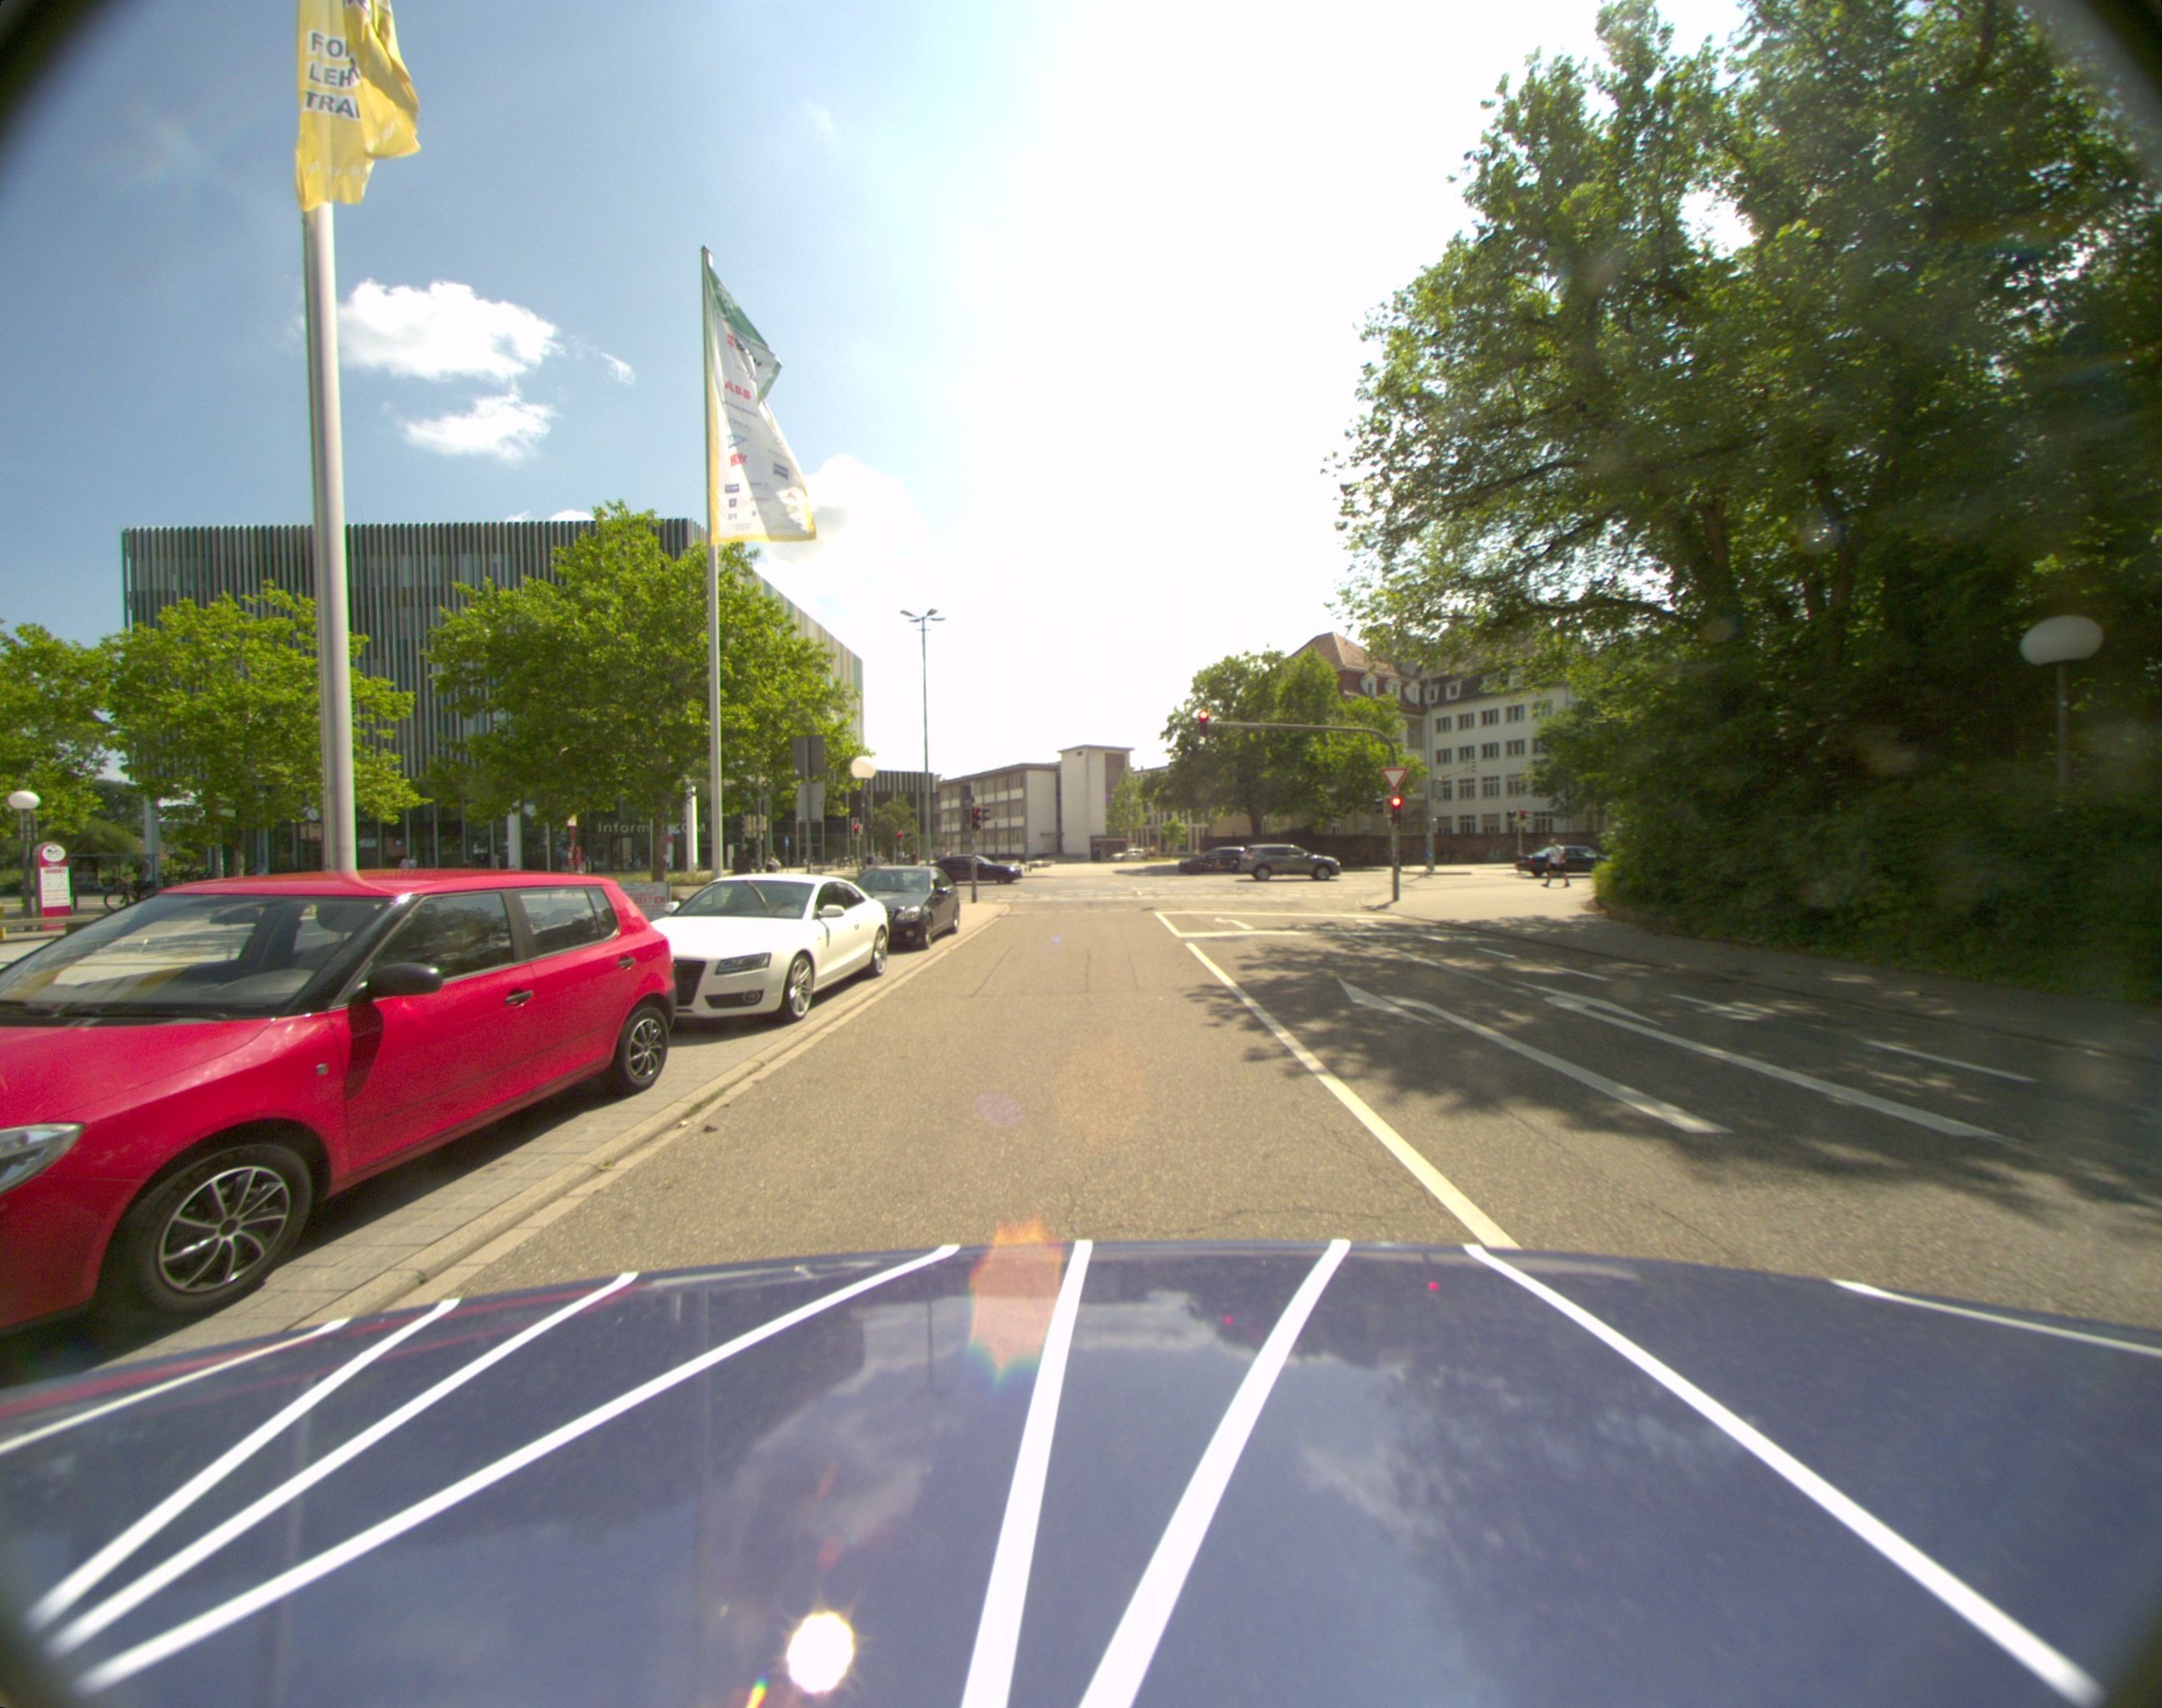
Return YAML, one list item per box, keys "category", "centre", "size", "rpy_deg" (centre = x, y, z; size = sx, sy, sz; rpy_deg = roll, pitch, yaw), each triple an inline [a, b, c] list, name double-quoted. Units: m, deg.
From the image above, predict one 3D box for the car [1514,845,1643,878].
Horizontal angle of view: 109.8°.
- category: "car"
  centre: [22.450, 0.335, 34.420]
  size: [4.607, 1.379, 1.698]
  rpy_deg: [-1, 2, 9]

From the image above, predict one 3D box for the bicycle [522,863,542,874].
- category: "bicycle"
  centre: [-44.303, 1.177, 61.359]
  size: [0.373, 0.771, 1.546]
  rpy_deg: [-1, 2, 5]

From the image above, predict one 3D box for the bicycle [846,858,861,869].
- category: "bicycle"
  centre: [-20.151, 0.837, 67.346]
  size: [0.530, 0.950, 1.768]
  rpy_deg: [-2, 2, -45]

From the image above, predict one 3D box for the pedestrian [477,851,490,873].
- category: "pedestrian"
  centre: [-49.591, 0.655, 63.058]
  size: [0.554, 1.832, 0.561]
  rpy_deg: [-1, 2, -6]

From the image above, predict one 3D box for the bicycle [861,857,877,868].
- category: "bicycle"
  centre: [-19.107, 0.743, 68.409]
  size: [0.530, 0.950, 1.768]
  rpy_deg: [-2, 2, -45]

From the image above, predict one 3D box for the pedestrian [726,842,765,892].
- category: "pedestrian"
  centre: [-12.697, 0.510, 28.783]
  size: [0.856, 1.808, 1.177]
  rpy_deg: [1, -3, 3]

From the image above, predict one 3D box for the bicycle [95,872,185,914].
- category: "bicycle"
  centre: [-27.847, 1.138, 22.499]
  size: [2.028, 1.176, 0.800]
  rpy_deg: [0, 2, 12]

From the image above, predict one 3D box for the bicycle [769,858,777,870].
- category: "bicycle"
  centre: [-25.810, 0.835, 63.659]
  size: [0.529, 0.950, 1.770]
  rpy_deg: [-1, 1, -19]

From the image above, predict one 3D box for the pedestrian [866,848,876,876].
- category: "pedestrian"
  centre: [-13.797, 0.536, 49.924]
  size: [0.633, 1.832, 0.479]
  rpy_deg: [-1, 2, -13]

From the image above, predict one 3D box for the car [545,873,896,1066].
- category: "car"
  centre: [-3.518, 1.006, 8.488]
  size: [1.722, 1.392, 4.438]
  rpy_deg: [2, 1, 1]

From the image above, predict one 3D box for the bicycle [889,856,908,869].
- category: "bicycle"
  centre: [-14.701, 0.677, 61.114]
  size: [1.768, 0.950, 0.530]
  rpy_deg: [1, 2, 39]

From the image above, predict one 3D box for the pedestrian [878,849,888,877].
- category: "pedestrian"
  centre: [-13.096, 0.621, 50.209]
  size: [0.576, 1.832, 0.415]
  rpy_deg: [-1, 2, -15]

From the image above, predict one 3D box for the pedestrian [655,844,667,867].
- category: "pedestrian"
  centre: [-34.185, 0.101, 61.850]
  size: [0.790, 1.831, 0.516]
  rpy_deg: [-2, 1, -34]

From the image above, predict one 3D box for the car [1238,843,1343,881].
- category: "car"
  centre: [9.739, 0.375, 35.607]
  size: [4.472, 1.669, 1.826]
  rpy_deg: [-1, 1, 6]

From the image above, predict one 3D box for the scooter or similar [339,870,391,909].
- category: "scooter or similar"
  centre: [-21.807, 1.074, 23.138]
  size: [1.191, 1.159, 0.353]
  rpy_deg: [0, 3, 1]

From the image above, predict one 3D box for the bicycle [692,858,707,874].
- category: "bicycle"
  centre: [-30.251, 0.941, 60.268]
  size: [0.373, 1.180, 1.546]
  rpy_deg: [0, 2, 0]

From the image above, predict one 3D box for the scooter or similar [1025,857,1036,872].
- category: "scooter or similar"
  centre: [-3.654, 0.724, 55.127]
  size: [0.403, 1.060, 1.149]
  rpy_deg: [-1, 1, -26]

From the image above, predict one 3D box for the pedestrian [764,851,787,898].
- category: "pedestrian"
  centre: [-11.580, 0.779, 28.824]
  size: [0.594, 1.789, 0.612]
  rpy_deg: [-2, -1, 42]

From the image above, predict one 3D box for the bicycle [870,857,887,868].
- category: "bicycle"
  centre: [-18.417, 0.746, 68.952]
  size: [1.768, 0.950, 0.530]
  rpy_deg: [1, 2, 39]

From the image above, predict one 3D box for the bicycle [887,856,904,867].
- category: "bicycle"
  centre: [-17.014, 0.707, 69.591]
  size: [1.768, 0.950, 0.530]
  rpy_deg: [1, 2, 39]

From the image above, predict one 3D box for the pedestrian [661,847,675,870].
- category: "pedestrian"
  centre: [-34.355, 0.365, 63.207]
  size: [0.677, 1.832, 0.691]
  rpy_deg: [0, 2, 9]

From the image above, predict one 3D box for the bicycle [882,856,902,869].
- category: "bicycle"
  centre: [-15.080, 0.673, 60.654]
  size: [1.768, 0.950, 0.530]
  rpy_deg: [1, 2, 39]

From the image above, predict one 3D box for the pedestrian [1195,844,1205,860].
- category: "pedestrian"
  centre: [13.416, -0.202, 85.782]
  size: [0.866, 1.779, 0.842]
  rpy_deg: [0, 0, -17]

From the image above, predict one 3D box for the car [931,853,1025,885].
- category: "car"
  centre: [-4.964, 0.703, 37.042]
  size: [4.186, 1.408, 1.831]
  rpy_deg: [-1, 2, 6]

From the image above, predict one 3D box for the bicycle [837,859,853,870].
- category: "bicycle"
  centre: [-20.787, 0.914, 66.845]
  size: [0.530, 0.950, 1.768]
  rpy_deg: [-2, 2, -45]

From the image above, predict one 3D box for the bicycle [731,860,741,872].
- category: "bicycle"
  centre: [-28.082, 0.996, 61.788]
  size: [0.374, 0.950, 1.542]
  rpy_deg: [-2, 2, -38]

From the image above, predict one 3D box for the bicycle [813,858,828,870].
- category: "bicycle"
  centre: [-22.611, 0.862, 65.989]
  size: [0.530, 0.950, 1.768]
  rpy_deg: [-6, 5, -42]

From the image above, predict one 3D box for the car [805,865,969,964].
- category: "car"
  centre: [-3.382, 0.980, 14.291]
  size: [1.722, 1.392, 4.948]
  rpy_deg: [1, 1, 1]

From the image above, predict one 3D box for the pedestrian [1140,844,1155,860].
- category: "pedestrian"
  centre: [6.956, -0.230, 79.496]
  size: [1.297, 1.641, 1.327]
  rpy_deg: [-1, 1, 14]

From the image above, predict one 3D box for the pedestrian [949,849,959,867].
- category: "pedestrian"
  centre: [-12.778, 0.352, 76.356]
  size: [0.845, 1.779, 0.676]
  rpy_deg: [-1, 1, -29]

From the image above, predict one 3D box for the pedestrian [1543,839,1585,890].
- category: "pedestrian"
  centre: [16.558, 0.363, 26.071]
  size: [0.930, 1.690, 0.854]
  rpy_deg: [0, 0, 4]

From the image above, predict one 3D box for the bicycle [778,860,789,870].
- category: "bicycle"
  centre: [-25.068, 0.906, 64.006]
  size: [0.530, 0.760, 1.769]
  rpy_deg: [-1, 2, -31]

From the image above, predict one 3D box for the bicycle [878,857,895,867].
- category: "bicycle"
  centre: [-17.709, 0.731, 69.239]
  size: [1.768, 0.950, 0.530]
  rpy_deg: [1, 2, 39]

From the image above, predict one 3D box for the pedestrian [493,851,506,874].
- category: "pedestrian"
  centre: [-47.986, 0.712, 62.718]
  size: [0.554, 1.832, 0.561]
  rpy_deg: [-1, 2, -6]

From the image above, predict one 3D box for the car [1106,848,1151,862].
- category: "car"
  centre: [5.196, 0.060, 82.801]
  size: [4.501, 1.299, 1.995]
  rpy_deg: [-2, 3, -31]

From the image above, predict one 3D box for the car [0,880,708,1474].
- category: "car"
  centre: [-3.740, 0.958, 3.777]
  size: [1.618, 1.488, 4.147]
  rpy_deg: [1, 0, 2]

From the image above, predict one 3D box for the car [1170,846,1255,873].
- category: "car"
  centre: [7.676, 0.319, 44.709]
  size: [4.712, 1.520, 2.000]
  rpy_deg: [-1, 1, 1]

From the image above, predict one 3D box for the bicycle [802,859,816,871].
- category: "bicycle"
  centre: [-23.375, 0.901, 65.304]
  size: [0.530, 0.950, 1.768]
  rpy_deg: [-2, 3, -42]
